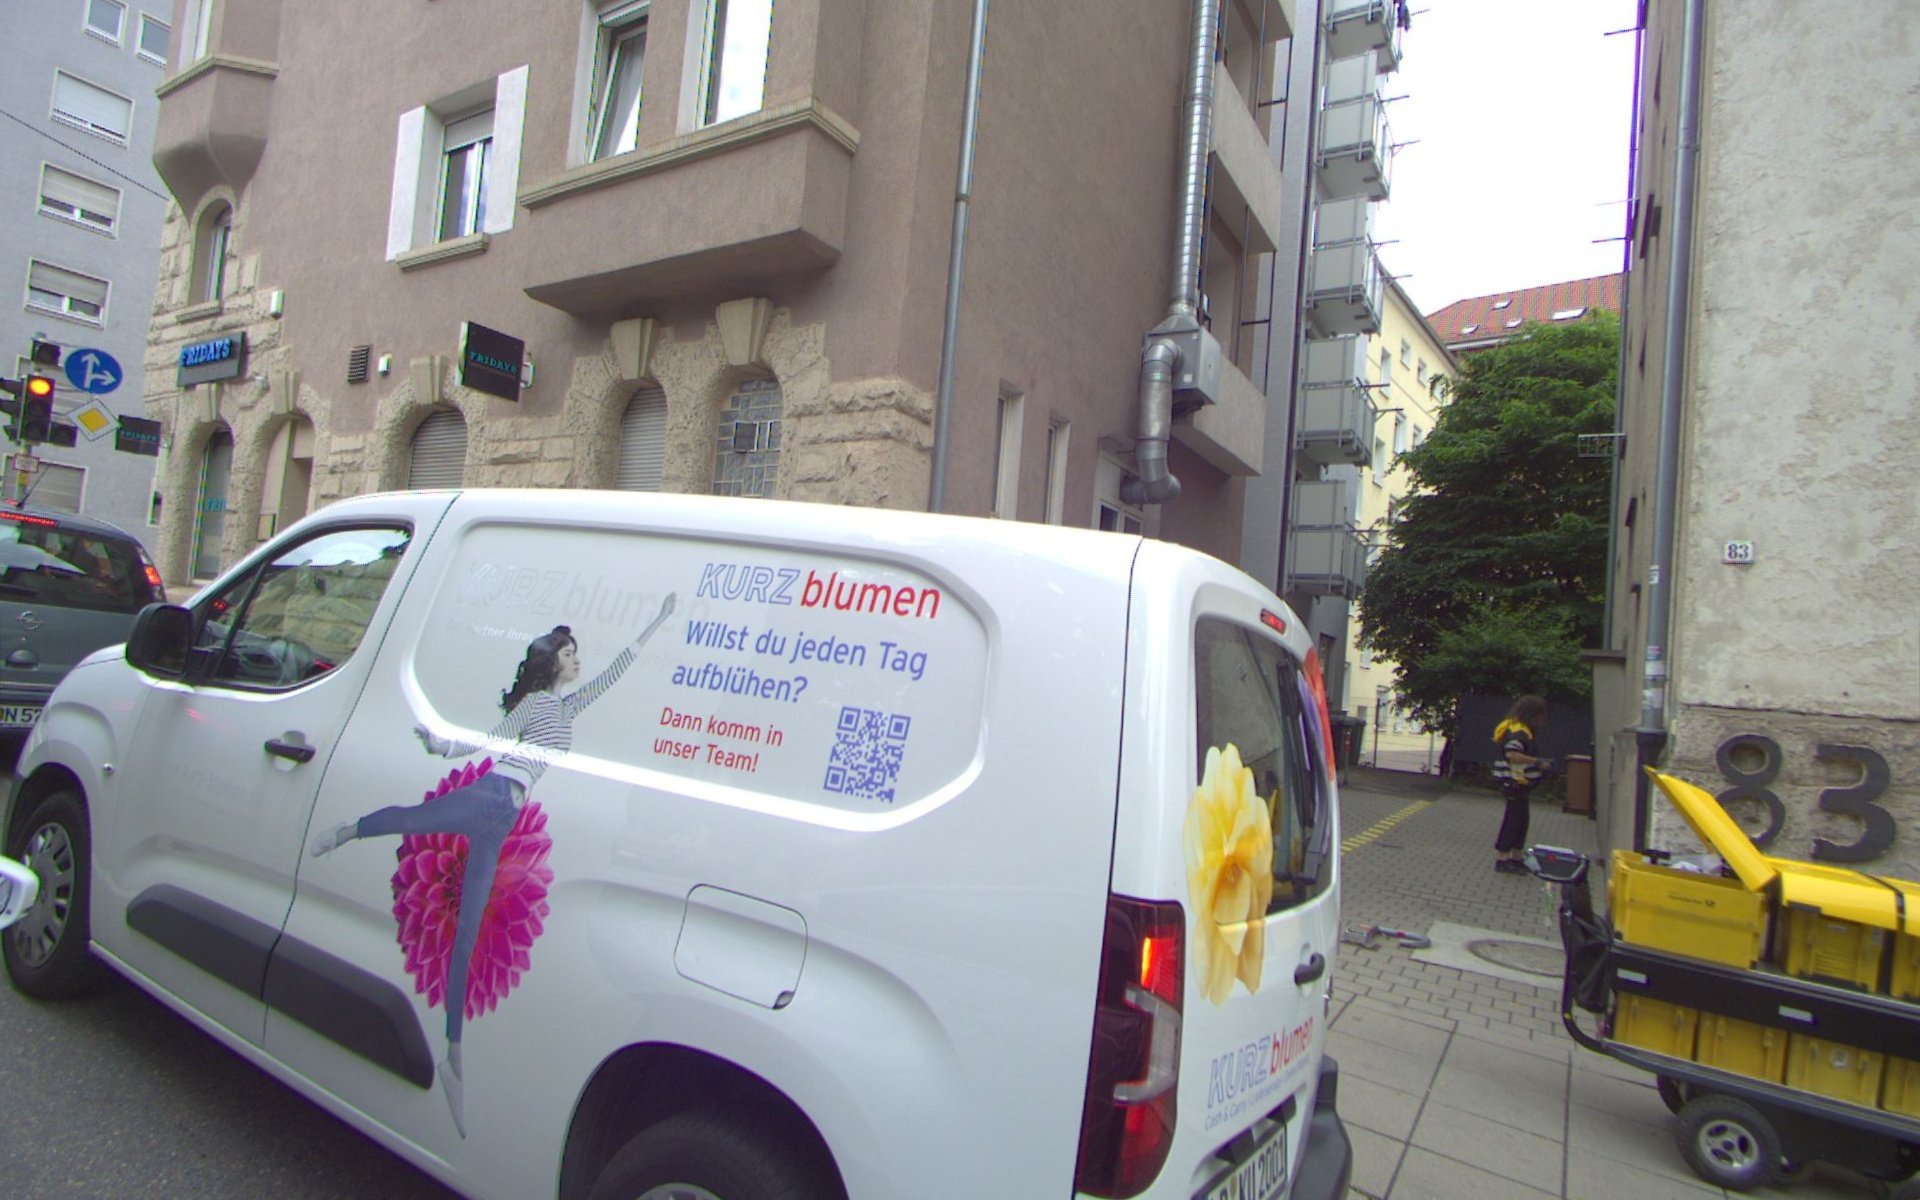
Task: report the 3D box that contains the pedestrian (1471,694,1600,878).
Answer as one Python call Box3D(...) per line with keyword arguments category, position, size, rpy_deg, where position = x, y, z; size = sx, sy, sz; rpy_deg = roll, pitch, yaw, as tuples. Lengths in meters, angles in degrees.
Box3D(category="pedestrian", position=(5.694, 1.816, 9.971), size=(0.753, 1.680, 0.740), rpy_deg=(5, -3, -24))

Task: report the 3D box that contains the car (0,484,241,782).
Box3D(category="car", position=(-6.679, 0.046, 6.567), size=(3.570, 1.609, 1.759), rpy_deg=(6, -5, 31))

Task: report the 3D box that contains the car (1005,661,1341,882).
Box3D(category="car", position=(2.285, 1.564, 9.864), size=(1.770, 1.419, 3.995), rpy_deg=(9, -1, 33))

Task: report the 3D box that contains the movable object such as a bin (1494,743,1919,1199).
Box3D(category="movable object such as a bin", position=(3.120, 1.417, 3.950), size=(1.665, 1.437, 0.720), rpy_deg=(6, -1, 31))

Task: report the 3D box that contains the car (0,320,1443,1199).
Box3D(category="car", position=(-1.369, 0.579, 3.293), size=(4.945, 1.845, 1.852), rpy_deg=(4, -4, 37))
